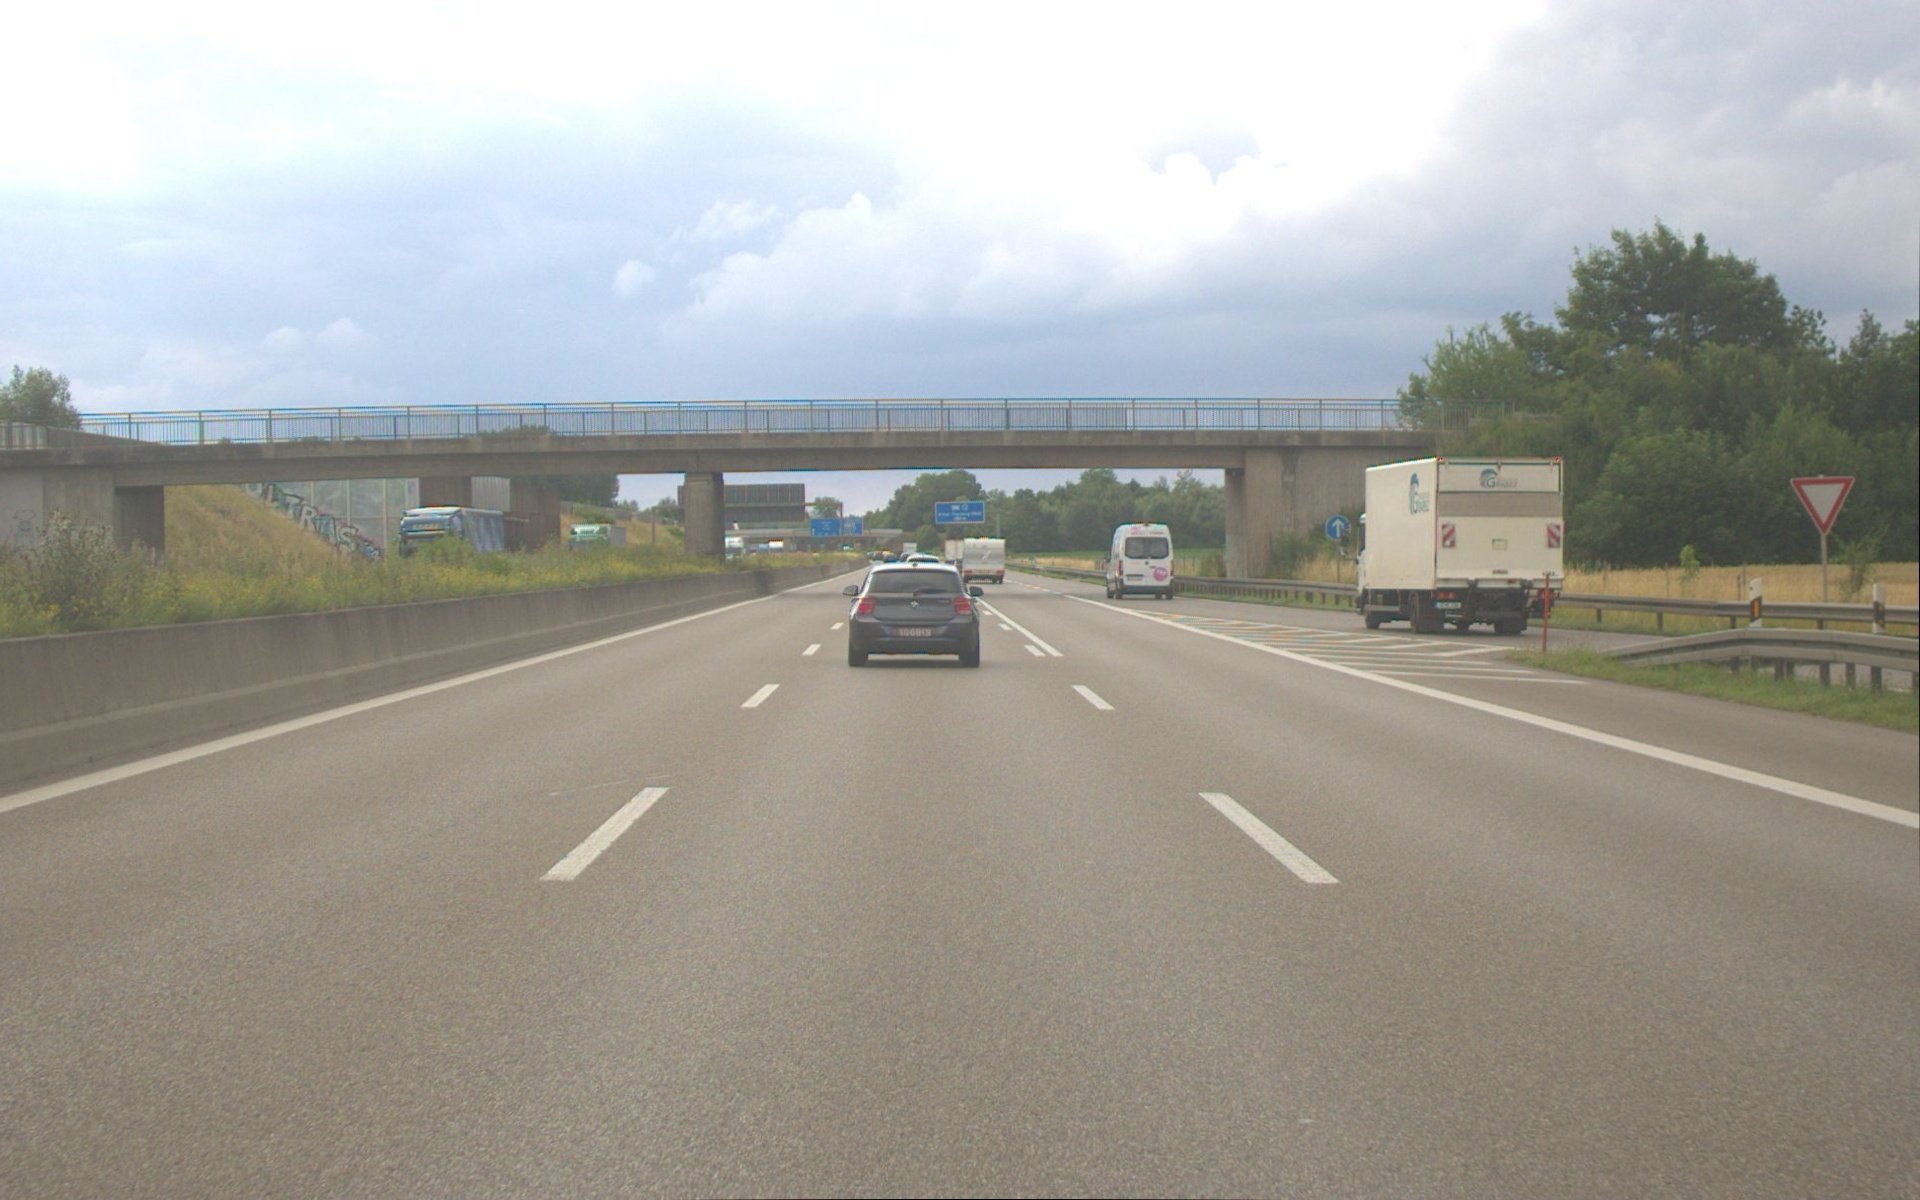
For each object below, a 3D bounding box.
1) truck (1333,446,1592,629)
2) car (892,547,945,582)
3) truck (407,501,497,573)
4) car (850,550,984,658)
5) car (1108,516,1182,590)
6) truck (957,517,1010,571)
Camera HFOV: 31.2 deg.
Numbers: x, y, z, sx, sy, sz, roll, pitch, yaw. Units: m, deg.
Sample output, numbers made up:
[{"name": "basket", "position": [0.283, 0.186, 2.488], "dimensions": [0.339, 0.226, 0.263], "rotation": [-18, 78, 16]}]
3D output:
[{"name": "truck", "position": [10.167, -1.260, 70.681], "dimensions": [3.104, 3.459, 8.893], "rotation": [1, 1, -6]}, {"name": "car", "position": [-1.601, -1.357, 131.310], "dimensions": [1.993, 1.294, 4.000], "rotation": [-1, 1, -1]}, {"name": "truck", "position": [-21.658, -2.651, 146.702], "dimensions": [2.910, 2.936, 6.115], "rotation": [1, 1, 0]}, {"name": "car", "position": [-0.586, 0.023, 47.172], "dimensions": [1.743, 1.384, 4.000], "rotation": [1, 1, -1]}, {"name": "car", "position": [6.547, -1.684, 122.564], "dimensions": [2.221, 2.559, 6.256], "rotation": [0, 1, -1]}, {"name": "truck", "position": [1.310, -3.167, 197.426], "dimensions": [2.710, 2.954, 12.448], "rotation": [1, 1, -1]}]
